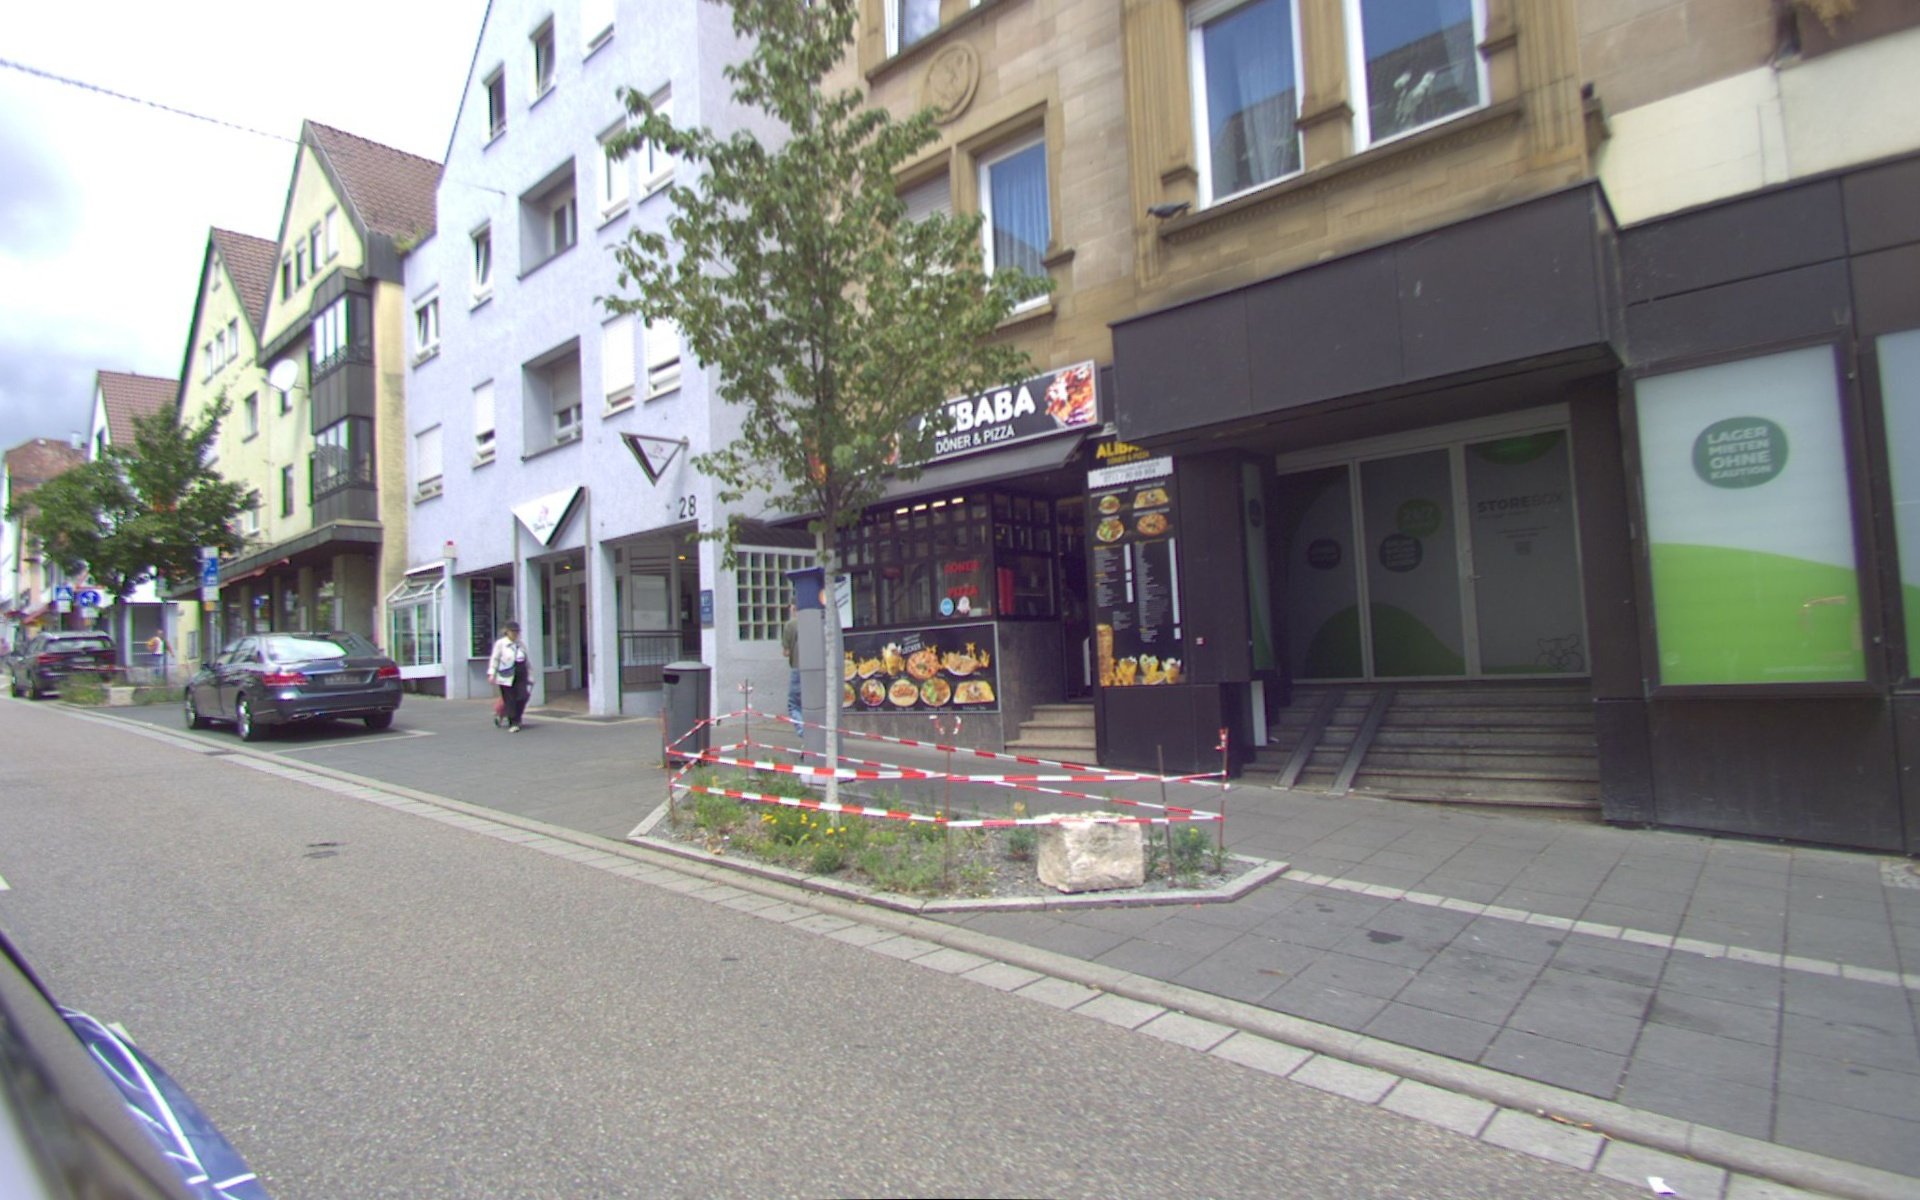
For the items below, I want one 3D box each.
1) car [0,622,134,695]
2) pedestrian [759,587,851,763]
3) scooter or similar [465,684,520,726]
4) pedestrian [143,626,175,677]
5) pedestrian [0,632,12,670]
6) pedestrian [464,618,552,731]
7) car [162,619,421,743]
[{"bbox_3d":[-23.341,1.500,26.403,4.604,1.706,1.986,-3,-1,40],"label":"car"},{"bbox_3d":[-1.597,0.744,10.415,0.710,1.726,0.581,-2,0,41],"label":"pedestrian"},{"bbox_3d":[-6.703,1.498,14.507,0.572,0.523,0.519,-1,0,40],"label":"scooter or similar"},{"bbox_3d":[-27.664,1.779,34.953,0.835,1.752,0.630,-2,-4,38],"label":"pedestrian"},{"bbox_3d":[-44.389,2.375,46.814,0.825,1.753,0.686,-3,-3,43],"label":"pedestrian"},{"bbox_3d":[-6.274,0.998,14.040,0.809,1.474,0.817,-1,0,40],"label":"pedestrian"},{"bbox_3d":[-10.123,1.106,15.168,4.838,1.504,1.907,-2,0,40],"label":"car"}]
